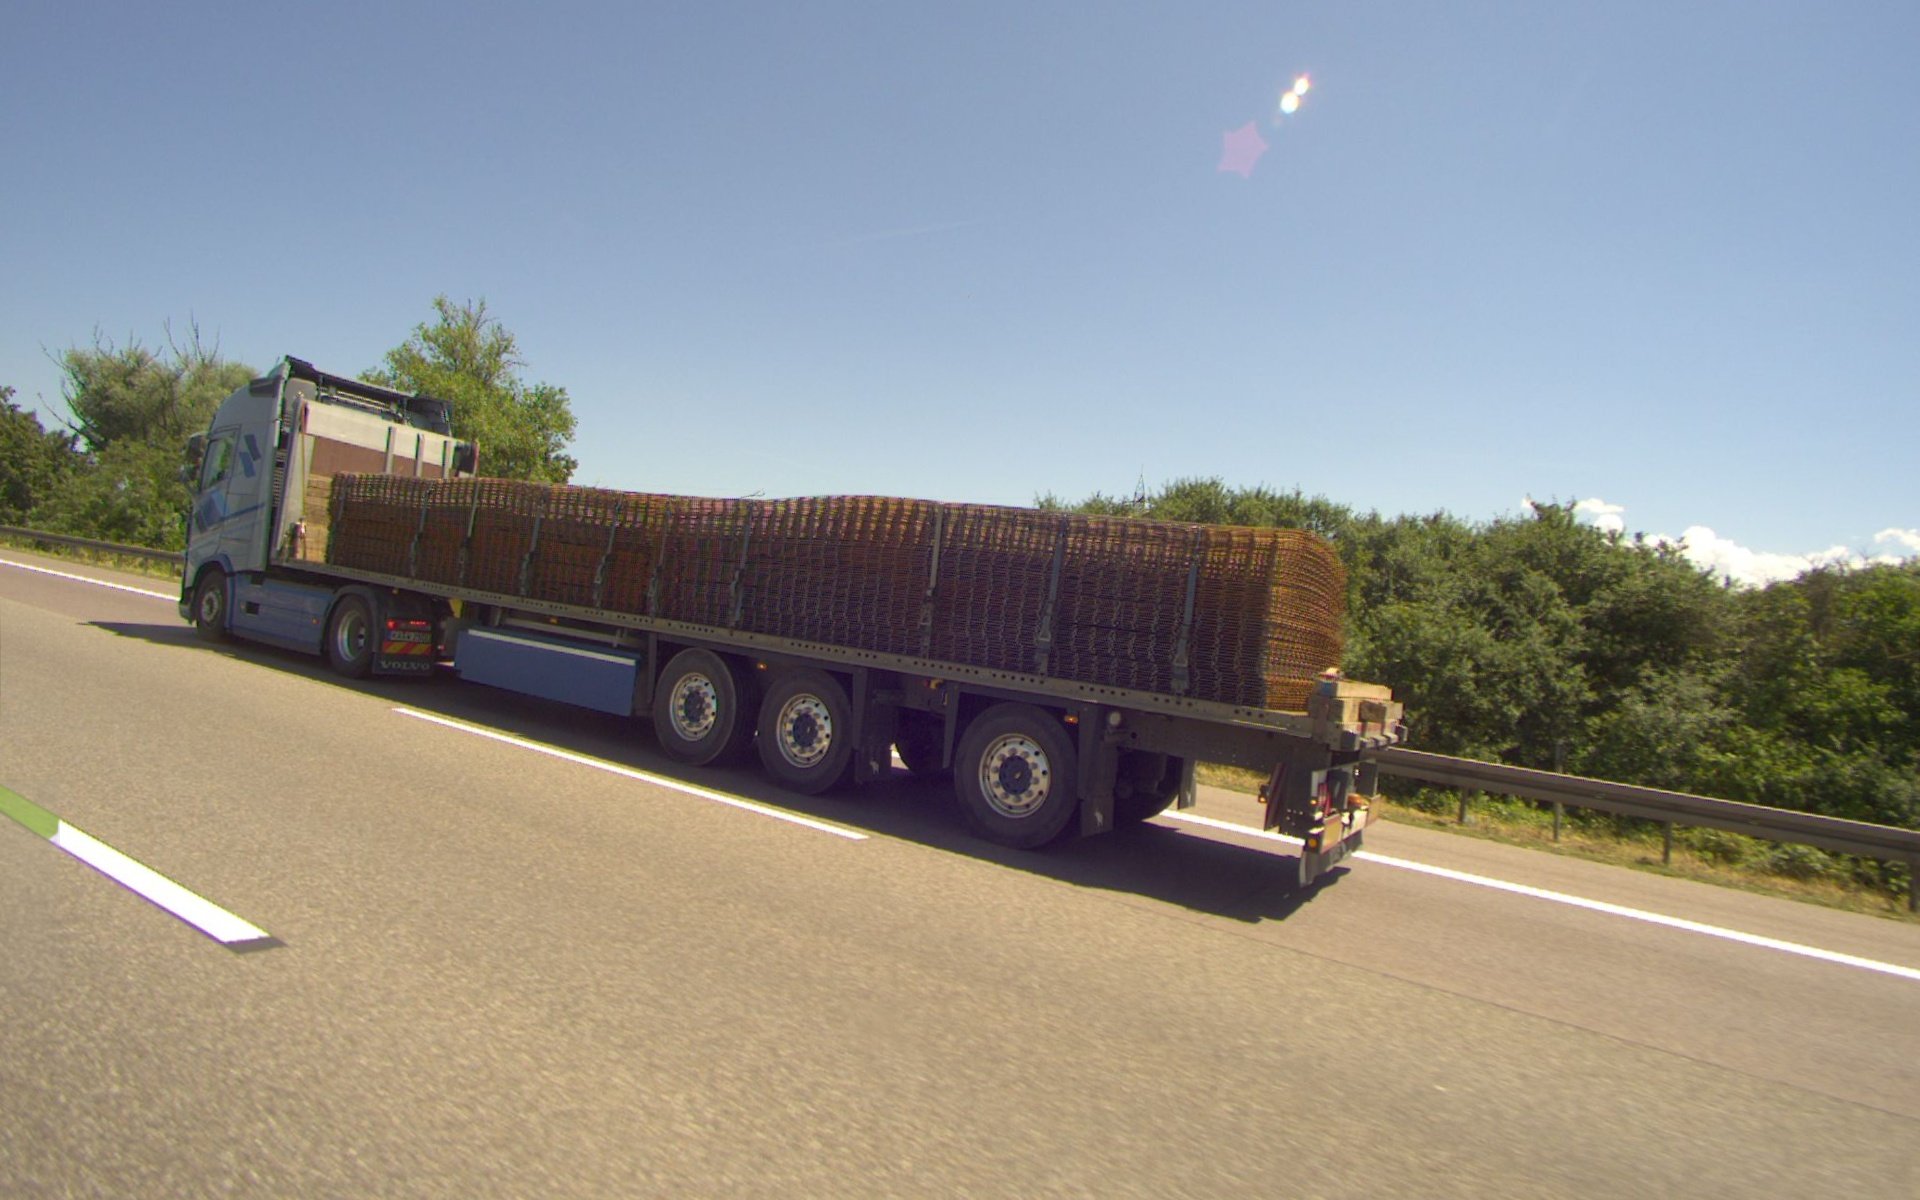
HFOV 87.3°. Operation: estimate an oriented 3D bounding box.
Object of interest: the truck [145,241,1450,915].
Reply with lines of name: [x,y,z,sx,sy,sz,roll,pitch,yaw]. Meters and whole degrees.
truck: [-3.760,-0.678,11.466,16.337,4.003,2.975,6,-2,31]
